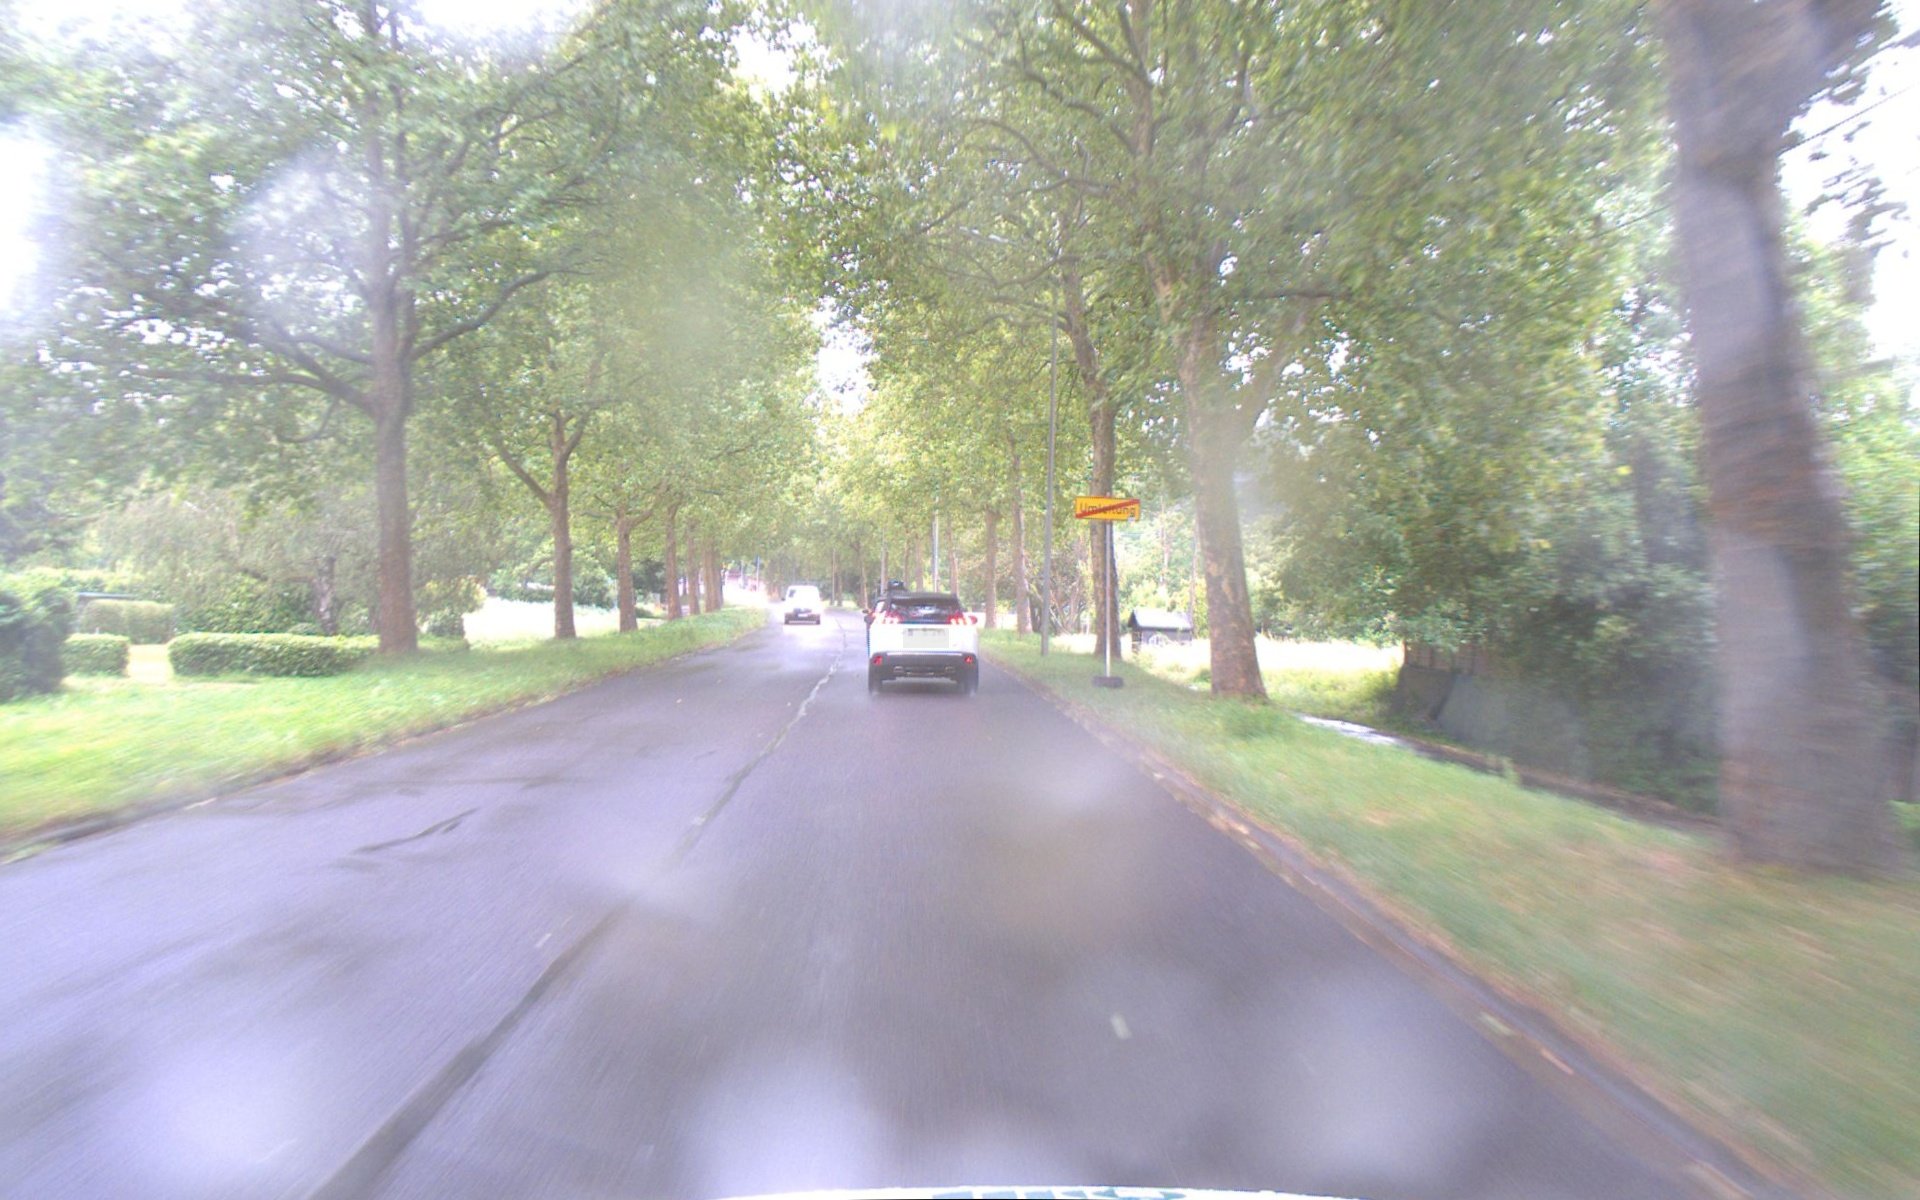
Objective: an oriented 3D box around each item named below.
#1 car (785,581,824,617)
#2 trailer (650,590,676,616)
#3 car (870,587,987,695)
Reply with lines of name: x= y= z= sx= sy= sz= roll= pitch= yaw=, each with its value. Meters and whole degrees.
car: x=-8.018 y=-0.049 z=85.758 sx=1.826 sy=1.780 sz=5.012 roll=1 pitch=0 yaw=-4
trailer: x=-30.794 y=0.259 z=171.625 sx=2.439 sy=2.612 sz=5.321 roll=1 pitch=0 yaw=-9
car: x=-0.476 y=0.608 z=27.146 sx=1.757 sy=1.606 sz=3.844 roll=1 pitch=1 yaw=0
